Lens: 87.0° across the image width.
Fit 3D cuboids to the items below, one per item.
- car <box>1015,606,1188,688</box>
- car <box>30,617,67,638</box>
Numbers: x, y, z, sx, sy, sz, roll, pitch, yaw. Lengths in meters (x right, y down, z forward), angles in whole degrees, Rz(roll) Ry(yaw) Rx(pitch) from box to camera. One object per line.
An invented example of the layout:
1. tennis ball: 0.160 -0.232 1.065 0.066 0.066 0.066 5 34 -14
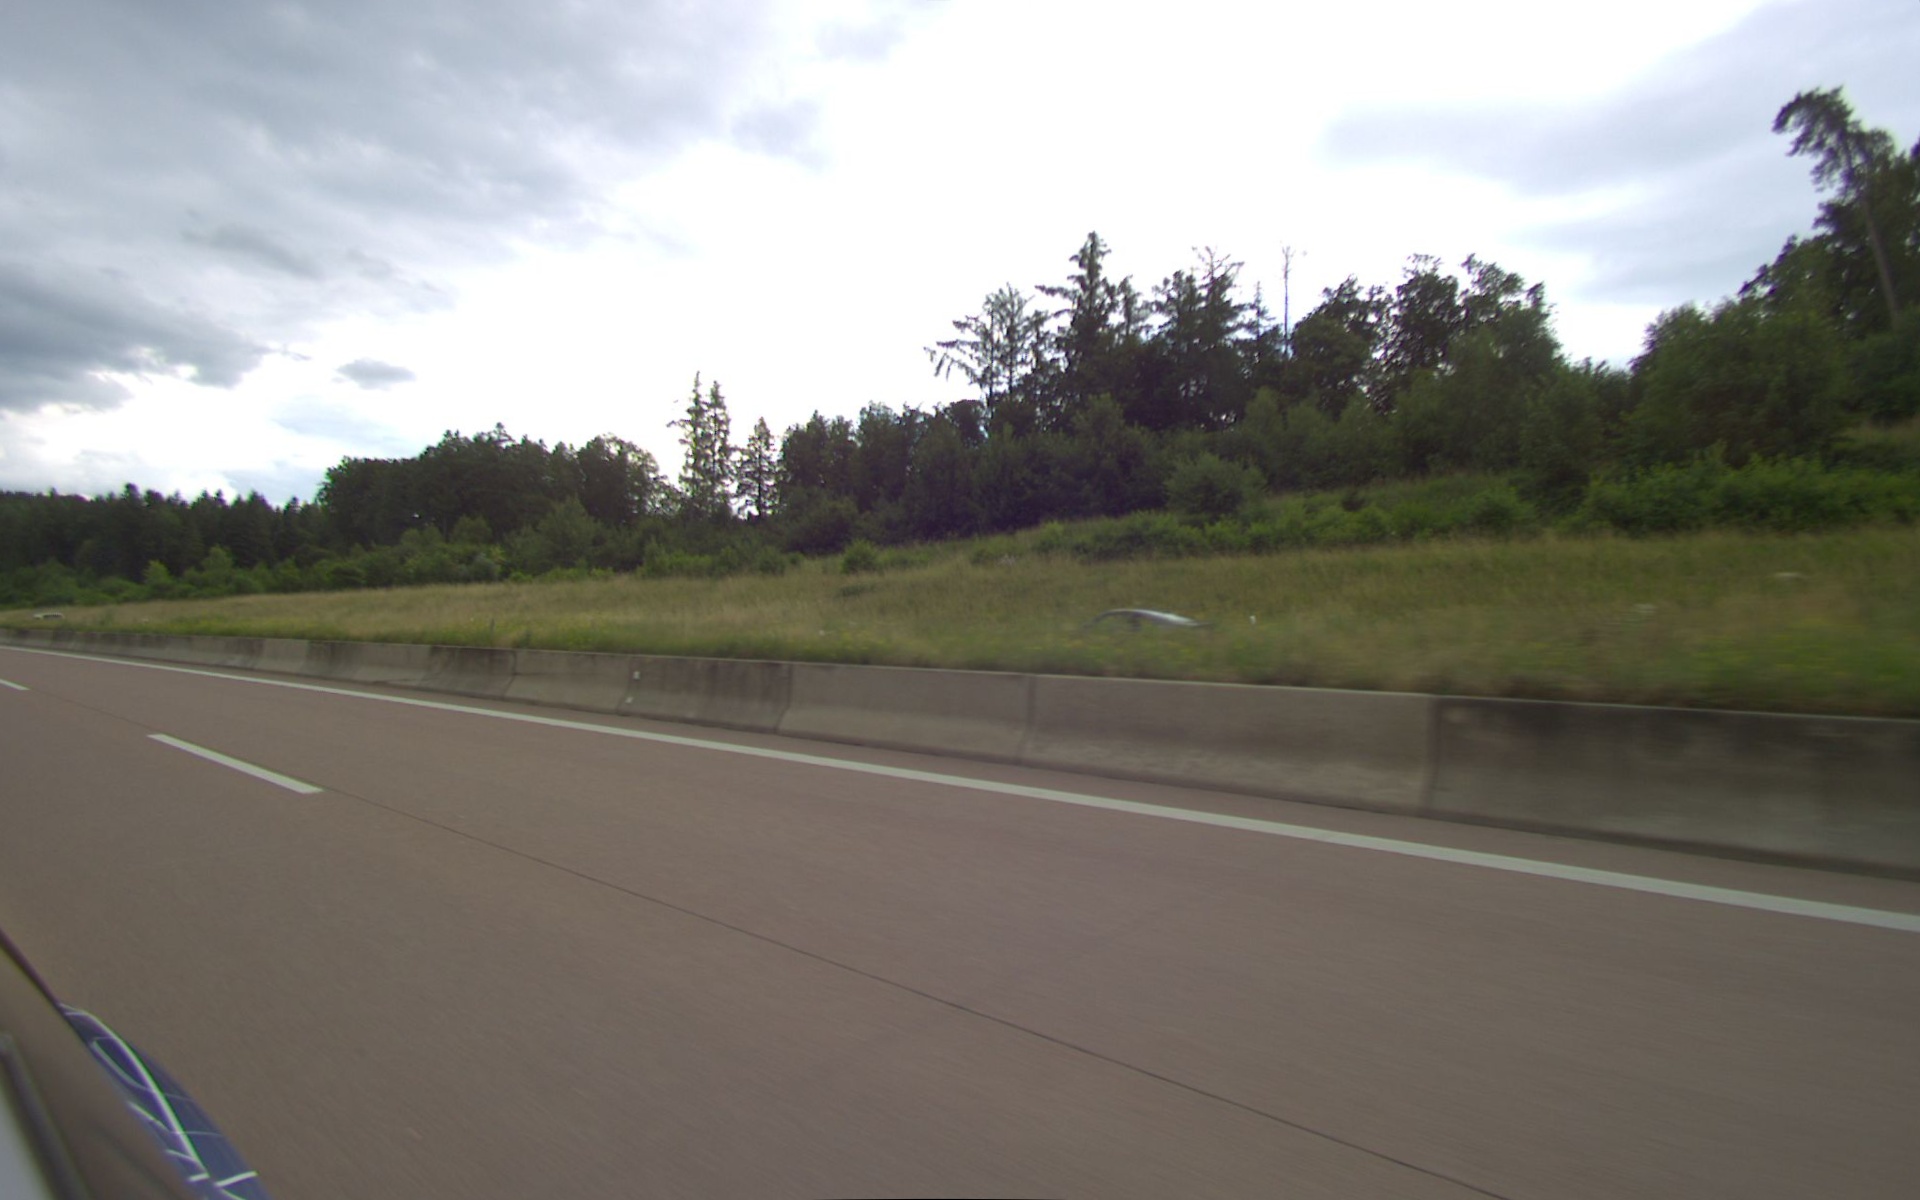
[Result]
1. car: 2.936 0.923 21.364 3.403 1.499 1.387 1 1 40
2. car: -86.670 2.582 96.178 5.147 1.889 1.899 -1 0 40
